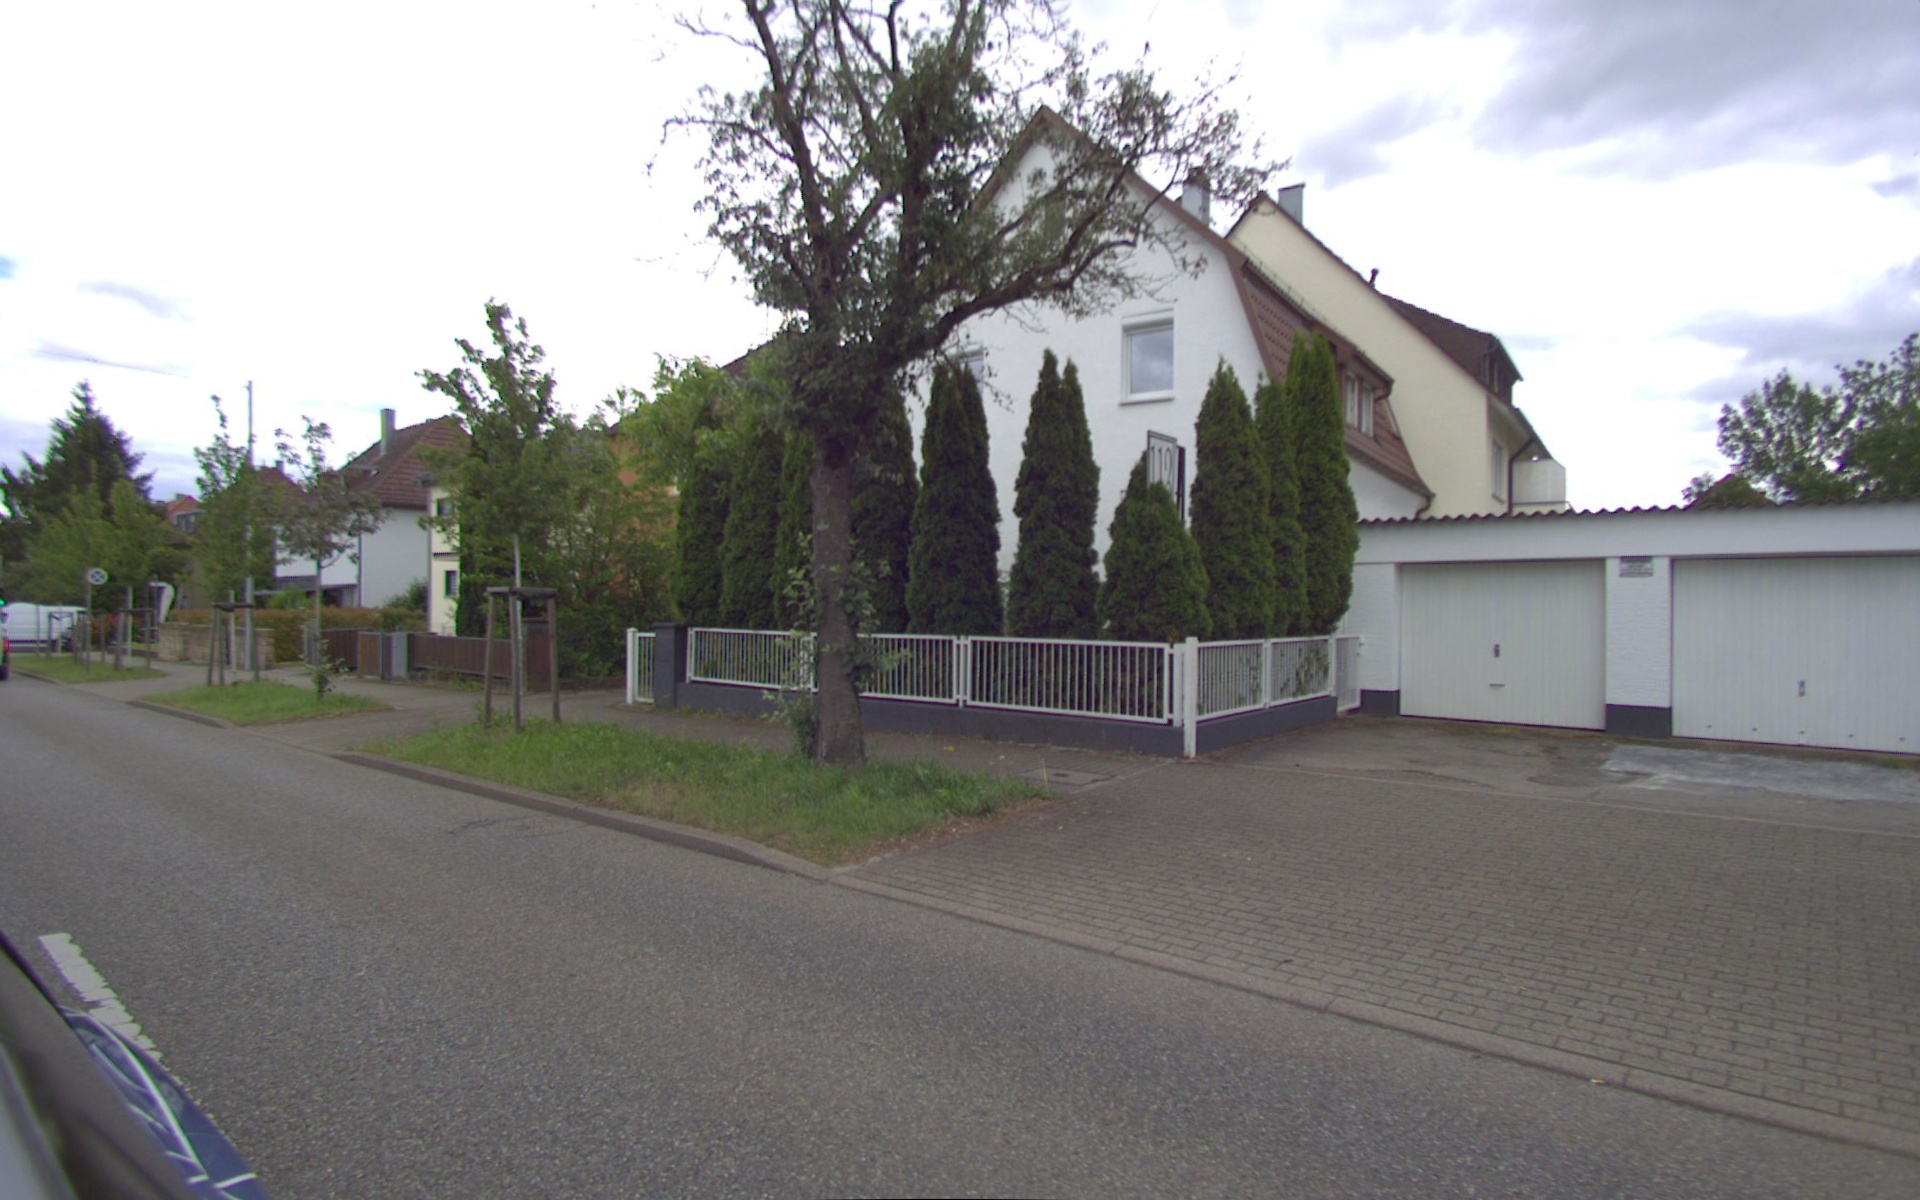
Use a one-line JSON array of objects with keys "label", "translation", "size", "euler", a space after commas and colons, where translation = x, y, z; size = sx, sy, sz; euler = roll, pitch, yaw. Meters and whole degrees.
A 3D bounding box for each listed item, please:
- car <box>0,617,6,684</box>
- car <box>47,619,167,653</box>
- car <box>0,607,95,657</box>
[{"label": "car", "translation": [-27.709, 1.371, 27.801], "size": [4.296, 1.765, 1.776], "euler": [-2, -2, 41]}, {"label": "car", "translation": [-44.653, 1.870, 53.041], "size": [1.999, 1.633, 4.585], "euler": [-2, -1, 40]}, {"label": "car", "translation": [-50.365, 1.704, 54.374], "size": [5.527, 2.583, 2.137], "euler": [3, -2, -31]}]
